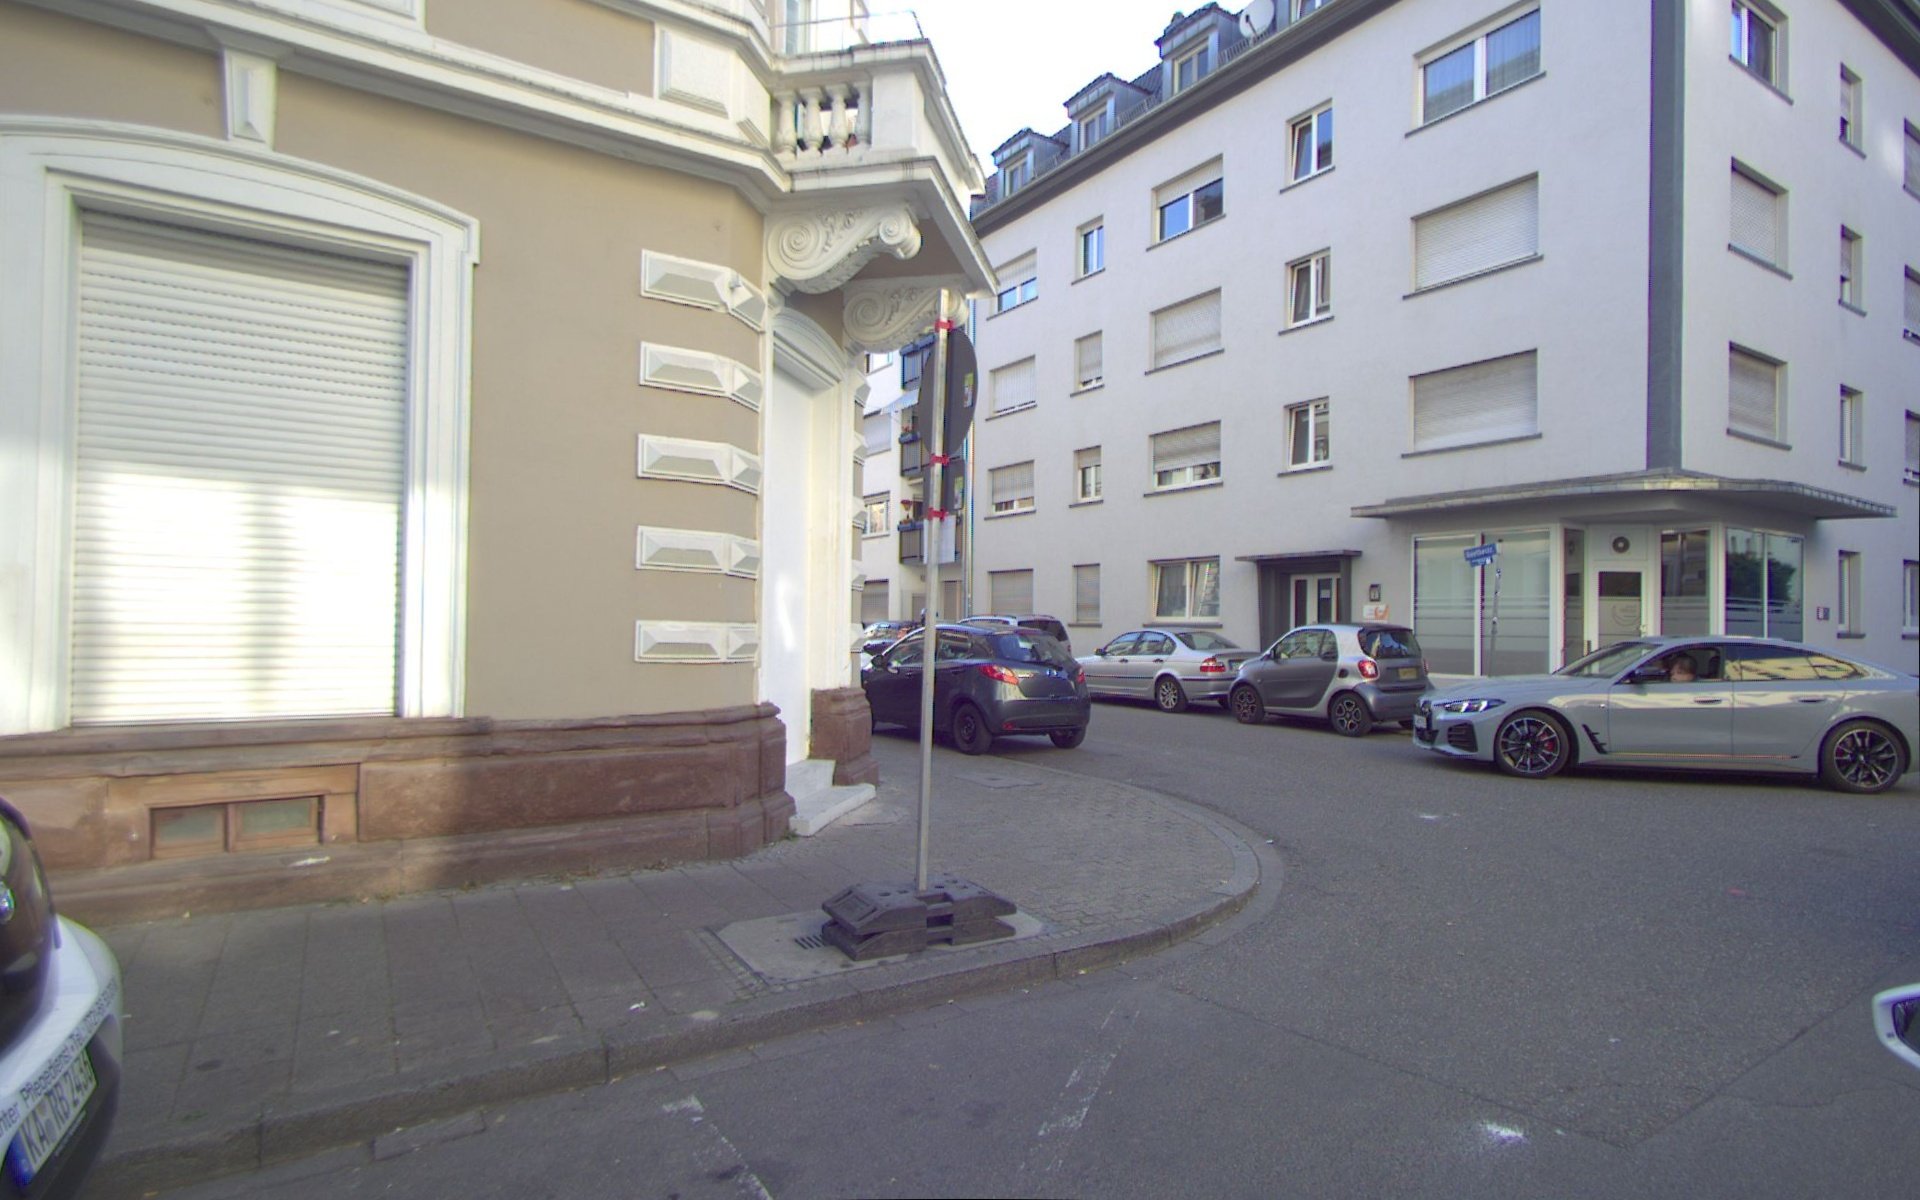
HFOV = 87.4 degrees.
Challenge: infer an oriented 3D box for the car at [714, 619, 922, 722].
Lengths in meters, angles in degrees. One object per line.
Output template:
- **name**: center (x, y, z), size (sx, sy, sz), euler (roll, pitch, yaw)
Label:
- **car**: center (-2.510, 1.070, 16.788), size (1.884, 1.481, 4.286), euler (1, -1, -32)

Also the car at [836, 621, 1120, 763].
- **car**: center (0.093, 1.012, 12.542), size (1.713, 1.470, 3.639), euler (1, -2, -36)

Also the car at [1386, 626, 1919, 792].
- **car**: center (7.193, 1.034, 10.504), size (4.713, 1.470, 1.935), euler (0, -1, 10)

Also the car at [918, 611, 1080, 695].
- **car**: center (0.775, 1.106, 22.469), size (1.586, 1.626, 3.993), euler (1, 0, -33)

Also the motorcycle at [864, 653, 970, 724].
- **motorcycle**: center (-0.749, 1.447, 16.801), size (0.961, 1.042, 1.980), euler (1, -1, -31)

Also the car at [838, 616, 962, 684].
- **car**: center (-1.638, 1.257, 26.263), size (1.587, 1.560, 3.685), euler (1, 0, -34)

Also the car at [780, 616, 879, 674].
- **car**: center (-3.987, 1.306, 30.242), size (1.586, 1.560, 3.470), euler (1, 0, -33)

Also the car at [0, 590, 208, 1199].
- **car**: center (-3.469, 0.769, 0.935), size (4.218, 1.527, 1.911), euler (1, -3, -31)

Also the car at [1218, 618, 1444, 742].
- **car**: center (5.426, 1.102, 14.925), size (1.576, 1.560, 2.771), euler (1, 0, -31)

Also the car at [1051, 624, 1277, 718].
- **car**: center (3.586, 1.206, 18.393), size (1.586, 1.422, 4.179), euler (2, -1, -33)

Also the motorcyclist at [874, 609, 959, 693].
- **motorcyclist**: center (-0.743, 0.830, 16.816), size (0.961, 1.347, 1.218), euler (1, -1, -31)
